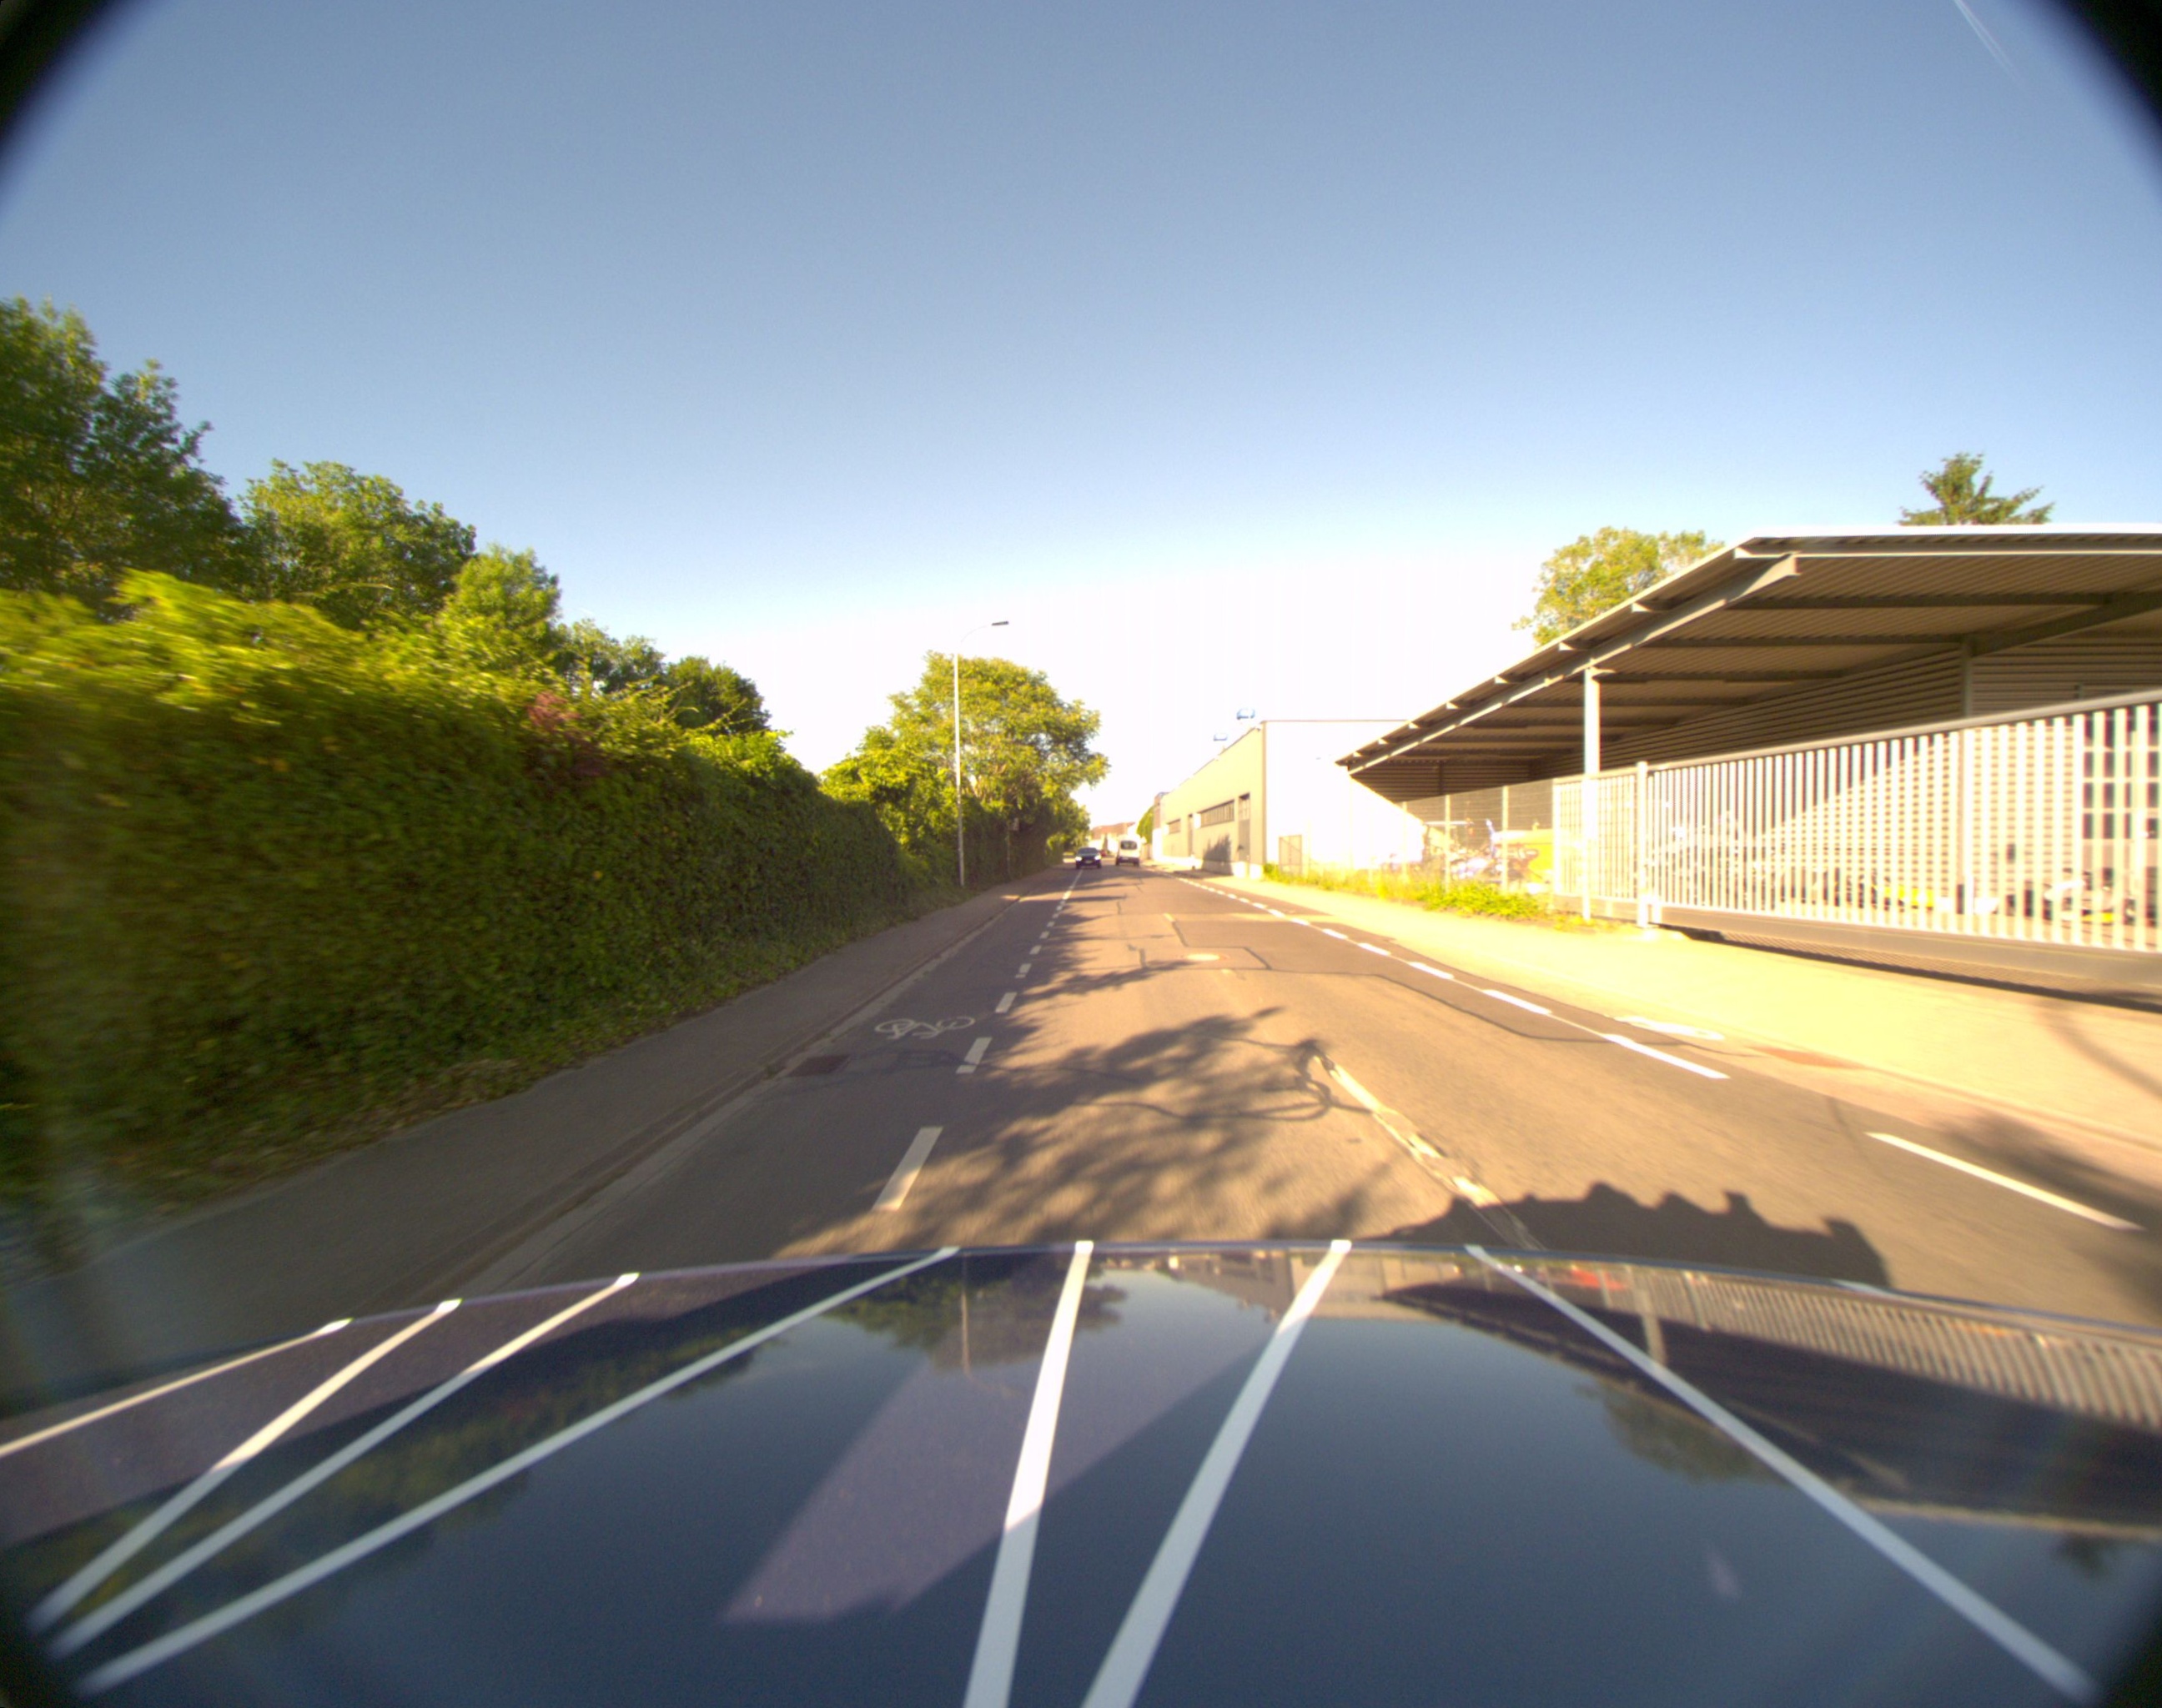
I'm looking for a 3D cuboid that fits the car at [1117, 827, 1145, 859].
[{"bbox_3d":[4.567,-0.974,70.029,2.128,2.764,5.925,2,1,0],"label":"car"}]

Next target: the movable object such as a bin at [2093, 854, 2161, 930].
[{"bbox_3d":[19.302,0.650,12.727,1.170,1.324,2.636,0,0,-2],"label":"movable object such as a bin"}]

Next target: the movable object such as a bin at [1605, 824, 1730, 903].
[{"bbox_3d":[16.432,0.257,21.422,1.580,2.080,2.478,0,0,-1],"label":"movable object such as a bin"}]

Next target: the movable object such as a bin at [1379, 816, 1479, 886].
[{"bbox_3d":[11.272,-0.078,24.610,2.765,2.152,1.526,0,0,31],"label":"movable object such as a bin"}]

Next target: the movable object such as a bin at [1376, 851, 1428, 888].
[{"bbox_3d":[12.400,0.605,29.401,1.473,1.394,1.325,0,0,-1],"label":"movable object such as a bin"}]

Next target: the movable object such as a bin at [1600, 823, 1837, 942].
[{"bbox_3d":[11.395,0.470,13.861,1.662,1.923,3.097,0,0,-2],"label":"movable object such as a bin"}]

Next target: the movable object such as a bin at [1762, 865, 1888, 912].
[{"bbox_3d":[16.569,0.749,16.989,1.104,0.964,1.730,0,0,-1],"label":"movable object such as a bin"}]

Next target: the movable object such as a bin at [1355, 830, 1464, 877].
[{"bbox_3d":[11.822,0.014,27.380,3.396,1.603,1.629,-1,0,31],"label":"movable object such as a bin"}]

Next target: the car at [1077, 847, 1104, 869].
[{"bbox_3d":[0.741,0.252,59.703,2.036,1.623,4.613,0,1,1],"label":"car"}]

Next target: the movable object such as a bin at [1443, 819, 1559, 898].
[{"bbox_3d":[11.835,0.143,21.571,2.793,2.114,1.387,0,0,26],"label":"movable object such as a bin"}]

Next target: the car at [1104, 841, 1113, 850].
[{"bbox_3d":[5.642,-1.725,156.528,1.724,1.530,4.076,2,-1,1],"label":"car"}]

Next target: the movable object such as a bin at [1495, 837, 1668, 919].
[{"bbox_3d":[11.614,0.537,17.754,3.047,1.824,1.526,0,0,-1],"label":"movable object such as a bin"}]

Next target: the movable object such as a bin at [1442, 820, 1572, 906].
[{"bbox_3d":[11.178,0.233,20.066,2.882,2.136,1.502,0,0,28],"label":"movable object such as a bin"}]

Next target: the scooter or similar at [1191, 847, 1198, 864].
[{"bbox_3d":[8.386,0.085,56.108,0.417,1.260,1.059,0,1,1],"label":"scooter or similar"}]
